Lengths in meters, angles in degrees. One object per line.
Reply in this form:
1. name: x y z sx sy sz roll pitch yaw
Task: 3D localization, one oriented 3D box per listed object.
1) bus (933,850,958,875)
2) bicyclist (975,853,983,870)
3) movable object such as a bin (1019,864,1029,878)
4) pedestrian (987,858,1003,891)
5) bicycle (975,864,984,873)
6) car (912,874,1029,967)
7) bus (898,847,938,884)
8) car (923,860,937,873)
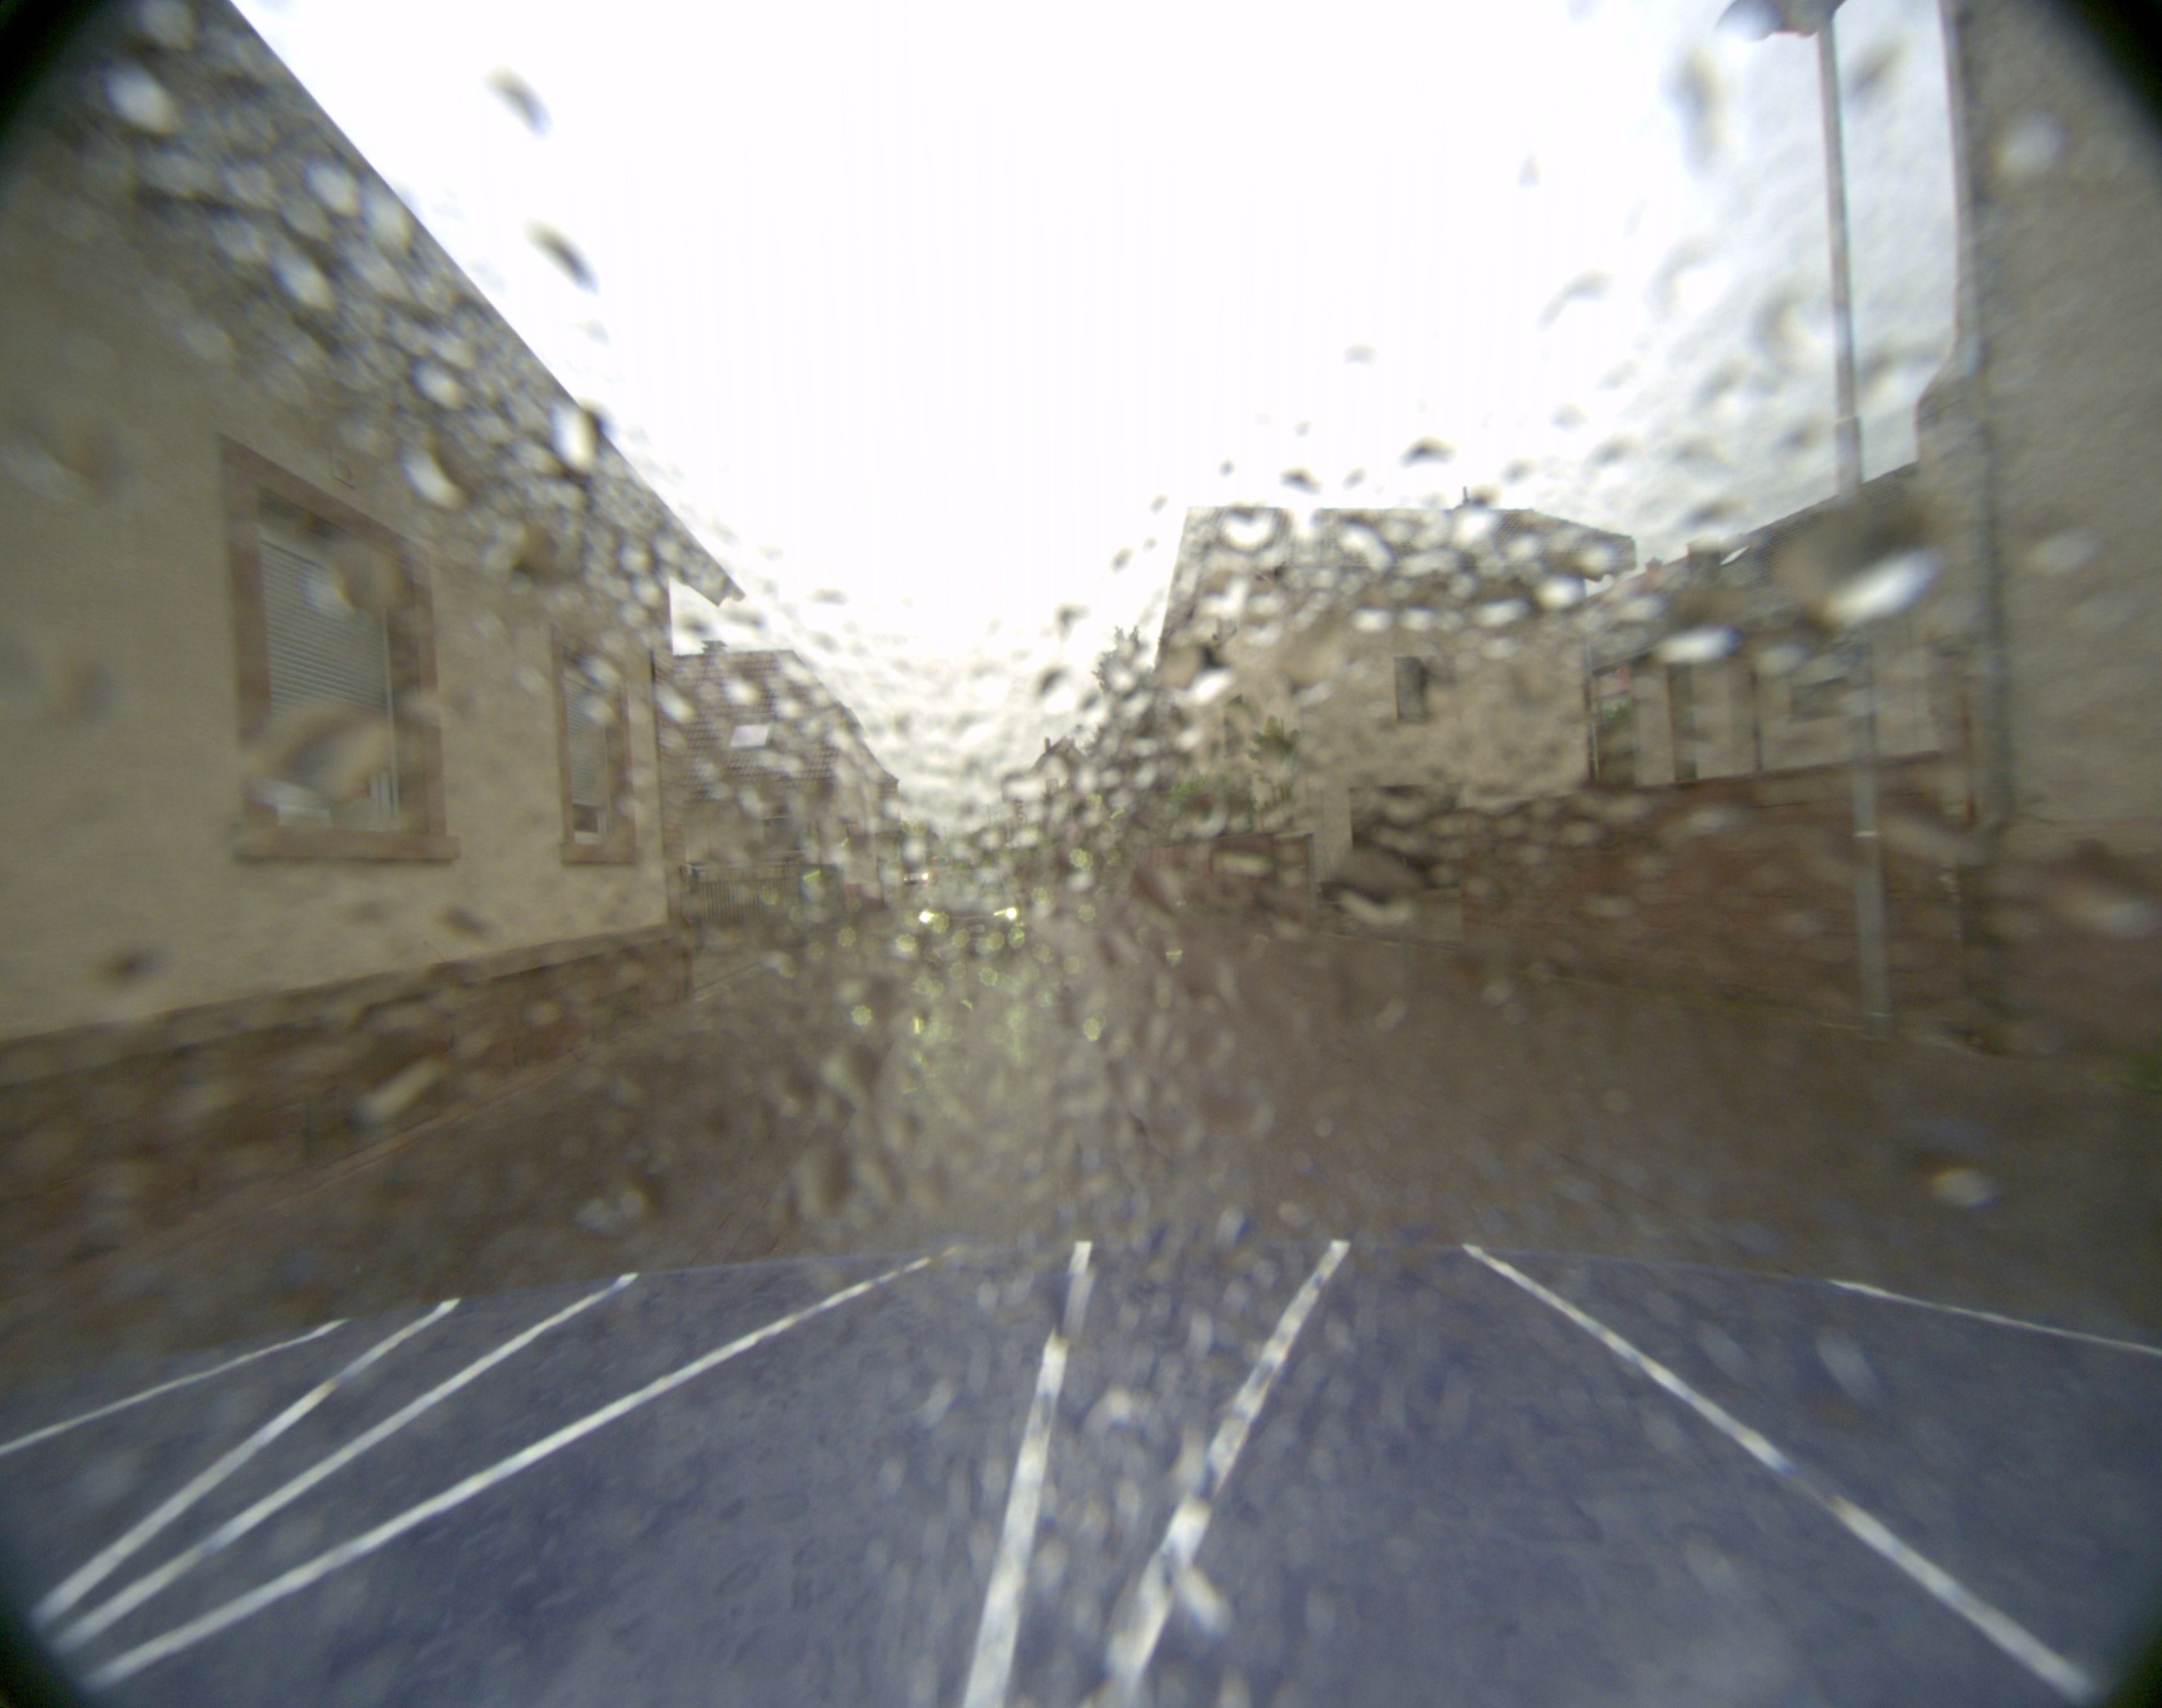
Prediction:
1. bus: -18.218 1.113 102.302 2.815 2.922 11.931 -5 0 -10
2. bicyclist: -11.085 0.836 82.389 0.659 1.759 0.703 -5 -1 -15
3. movable object such as a bin: -4.012 1.186 53.853 0.540 0.925 0.544 -5 1 -16
4. pedestrian: -4.658 1.089 41.049 0.697 1.722 0.820 -3 0 -14
5. bicycle: -11.017 1.611 82.430 0.663 0.865 1.933 -5 -2 -15
6. car: -2.239 1.124 14.440 1.782 1.348 4.184 -3 0 -13
7. bus: -17.421 1.148 80.257 3.444 3.392 13.854 -4 0 -14
8. car: -26.378 2.151 132.744 2.001 2.002 4.239 -5 1 -14
